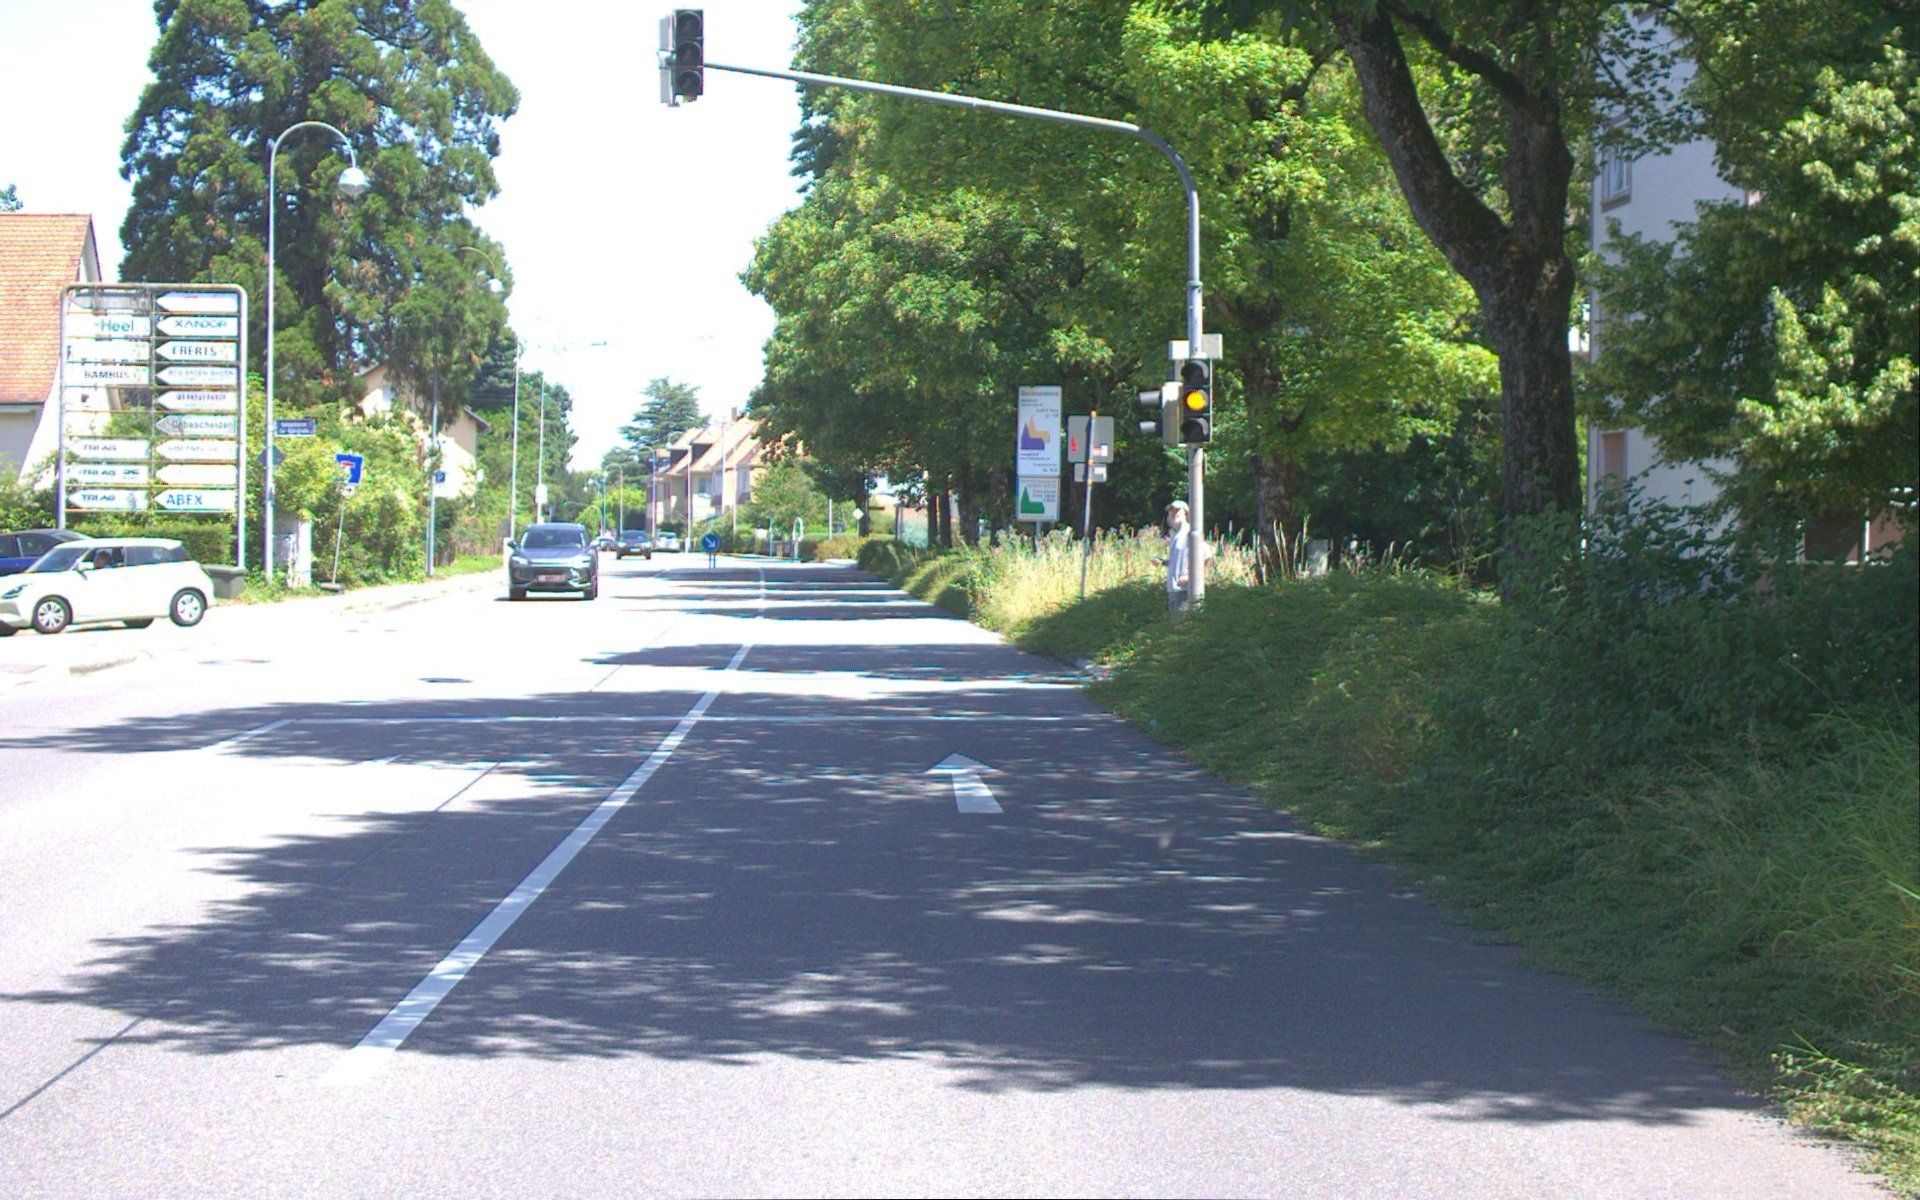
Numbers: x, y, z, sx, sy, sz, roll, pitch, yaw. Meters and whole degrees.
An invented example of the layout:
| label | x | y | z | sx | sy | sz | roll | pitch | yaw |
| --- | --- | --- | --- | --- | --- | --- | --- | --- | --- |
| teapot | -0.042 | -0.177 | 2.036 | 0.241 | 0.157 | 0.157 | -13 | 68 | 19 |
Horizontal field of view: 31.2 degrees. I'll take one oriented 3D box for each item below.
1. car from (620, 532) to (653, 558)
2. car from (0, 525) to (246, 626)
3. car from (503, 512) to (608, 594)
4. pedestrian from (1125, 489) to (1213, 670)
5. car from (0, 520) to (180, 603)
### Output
| label | x | y | z | sx | sy | sz | roll | pitch | yaw |
| --- | --- | --- | --- | --- | --- | --- | --- | --- | --- |
| car | -16.537 | -2.817 | 175.803 | 1.431 | 1.318 | 3.355 | 1 | 1 | 0 |
| car | -13.885 | -0.427 | 55.379 | 1.999 | 1.482 | 4.299 | 2 | 3 | 44 |
| car | -8.841 | -1.044 | 75.340 | 1.879 | 1.712 | 4.310 | 1 | 1 | -1 |
| pedestrian | 2.040 | -0.202 | 33.558 | 0.615 | 1.745 | 0.561 | 1 | 1 | 43 |
| car | -15.790 | -0.697 | 61.206 | 3.490 | 1.422 | 1.601 | 1 | 1 | -4 |
